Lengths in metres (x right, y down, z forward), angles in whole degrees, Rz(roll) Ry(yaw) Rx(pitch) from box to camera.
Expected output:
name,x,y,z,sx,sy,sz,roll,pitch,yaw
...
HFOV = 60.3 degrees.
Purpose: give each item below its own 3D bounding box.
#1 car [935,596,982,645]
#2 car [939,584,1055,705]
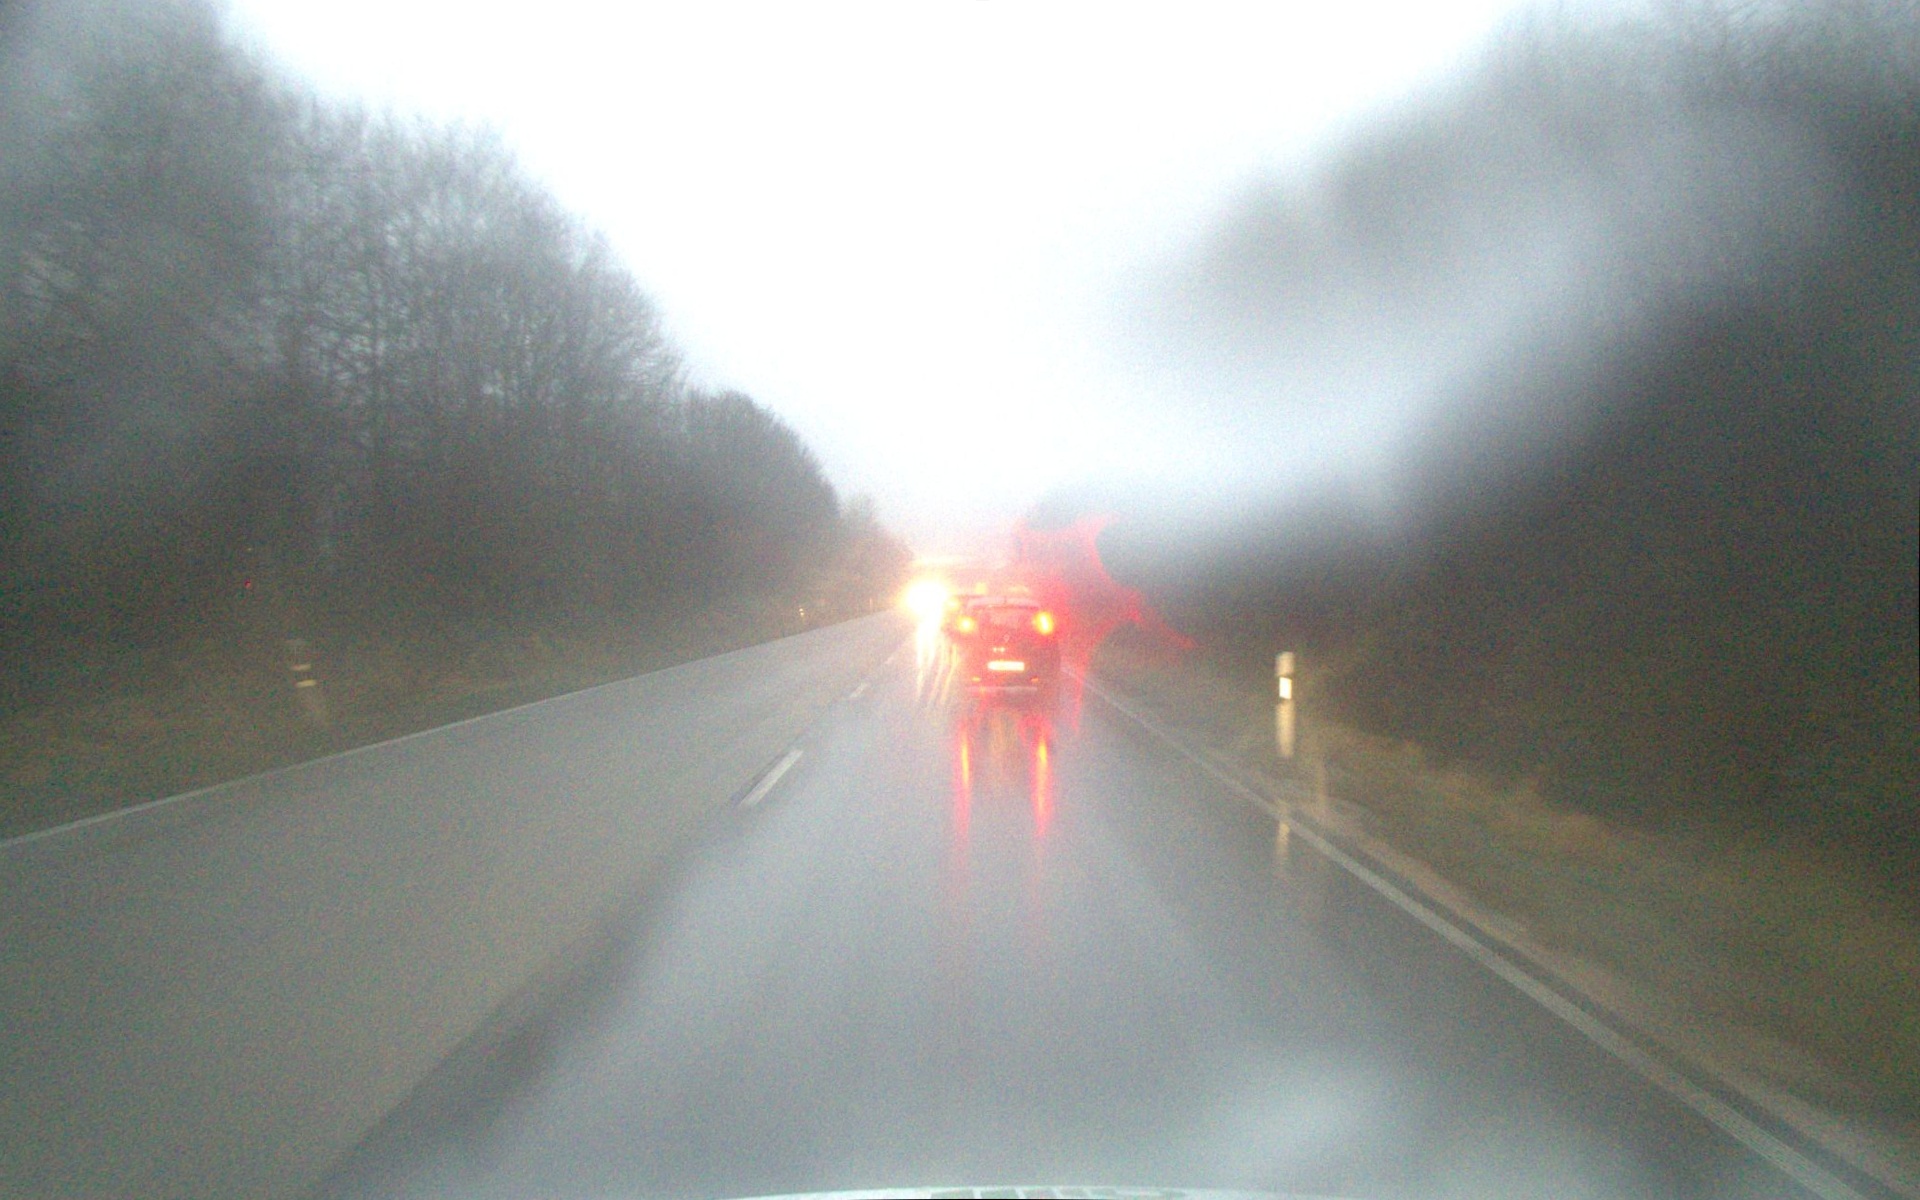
name,x,y,z,sx,sy,sz,roll,pitch,yaw
car,-0.070,0.767,63.302,1.697,1.810,4.000,1,0,0
car,0.566,0.635,25.250,1.614,1.701,3.514,1,0,1
